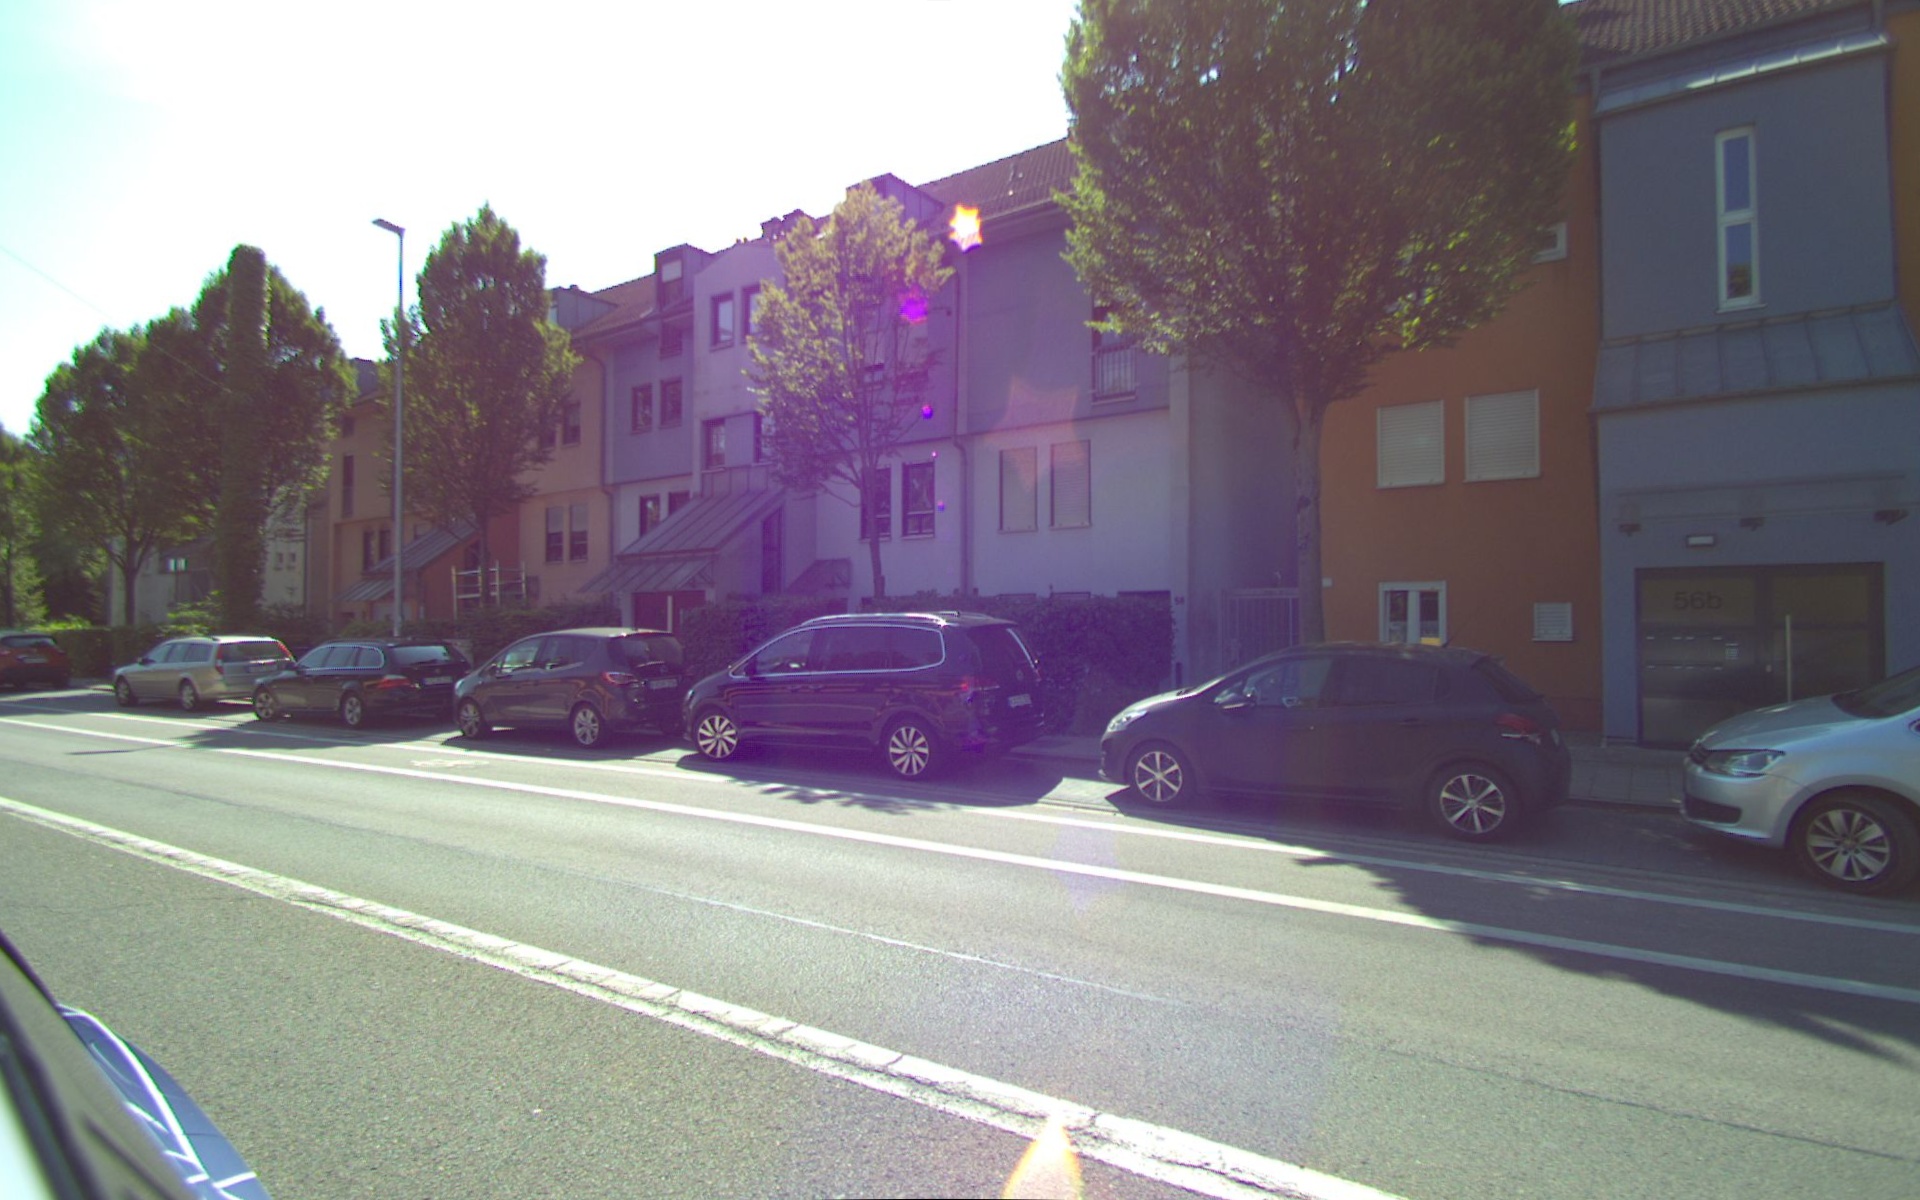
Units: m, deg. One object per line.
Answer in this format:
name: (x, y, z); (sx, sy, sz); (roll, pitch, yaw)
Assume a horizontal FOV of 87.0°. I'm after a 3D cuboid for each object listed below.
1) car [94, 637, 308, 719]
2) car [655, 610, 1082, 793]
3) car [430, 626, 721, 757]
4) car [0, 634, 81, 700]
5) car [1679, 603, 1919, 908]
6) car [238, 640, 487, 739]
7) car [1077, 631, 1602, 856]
car: (-16.109, 1.577, 21.420); (4.835, 1.495, 1.769); (-1, 0, 28)
car: (-1.166, 1.042, 11.807); (4.851, 1.736, 1.757); (-1, 0, 30)
car: (-5.657, 1.227, 14.734); (4.297, 1.637, 1.704); (-1, -1, 31)
car: (-25.143, 1.717, 26.563); (4.298, 1.563, 1.720); (-1, -1, 28)
car: (7.226, 0.895, 5.901); (4.899, 1.737, 1.785); (-1, 1, 36)
car: (-10.618, 1.489, 17.904); (4.695, 1.485, 1.711); (-1, 0, 30)
car: (3.225, 1.063, 8.886); (4.036, 1.485, 1.677); (-1, 1, 33)
